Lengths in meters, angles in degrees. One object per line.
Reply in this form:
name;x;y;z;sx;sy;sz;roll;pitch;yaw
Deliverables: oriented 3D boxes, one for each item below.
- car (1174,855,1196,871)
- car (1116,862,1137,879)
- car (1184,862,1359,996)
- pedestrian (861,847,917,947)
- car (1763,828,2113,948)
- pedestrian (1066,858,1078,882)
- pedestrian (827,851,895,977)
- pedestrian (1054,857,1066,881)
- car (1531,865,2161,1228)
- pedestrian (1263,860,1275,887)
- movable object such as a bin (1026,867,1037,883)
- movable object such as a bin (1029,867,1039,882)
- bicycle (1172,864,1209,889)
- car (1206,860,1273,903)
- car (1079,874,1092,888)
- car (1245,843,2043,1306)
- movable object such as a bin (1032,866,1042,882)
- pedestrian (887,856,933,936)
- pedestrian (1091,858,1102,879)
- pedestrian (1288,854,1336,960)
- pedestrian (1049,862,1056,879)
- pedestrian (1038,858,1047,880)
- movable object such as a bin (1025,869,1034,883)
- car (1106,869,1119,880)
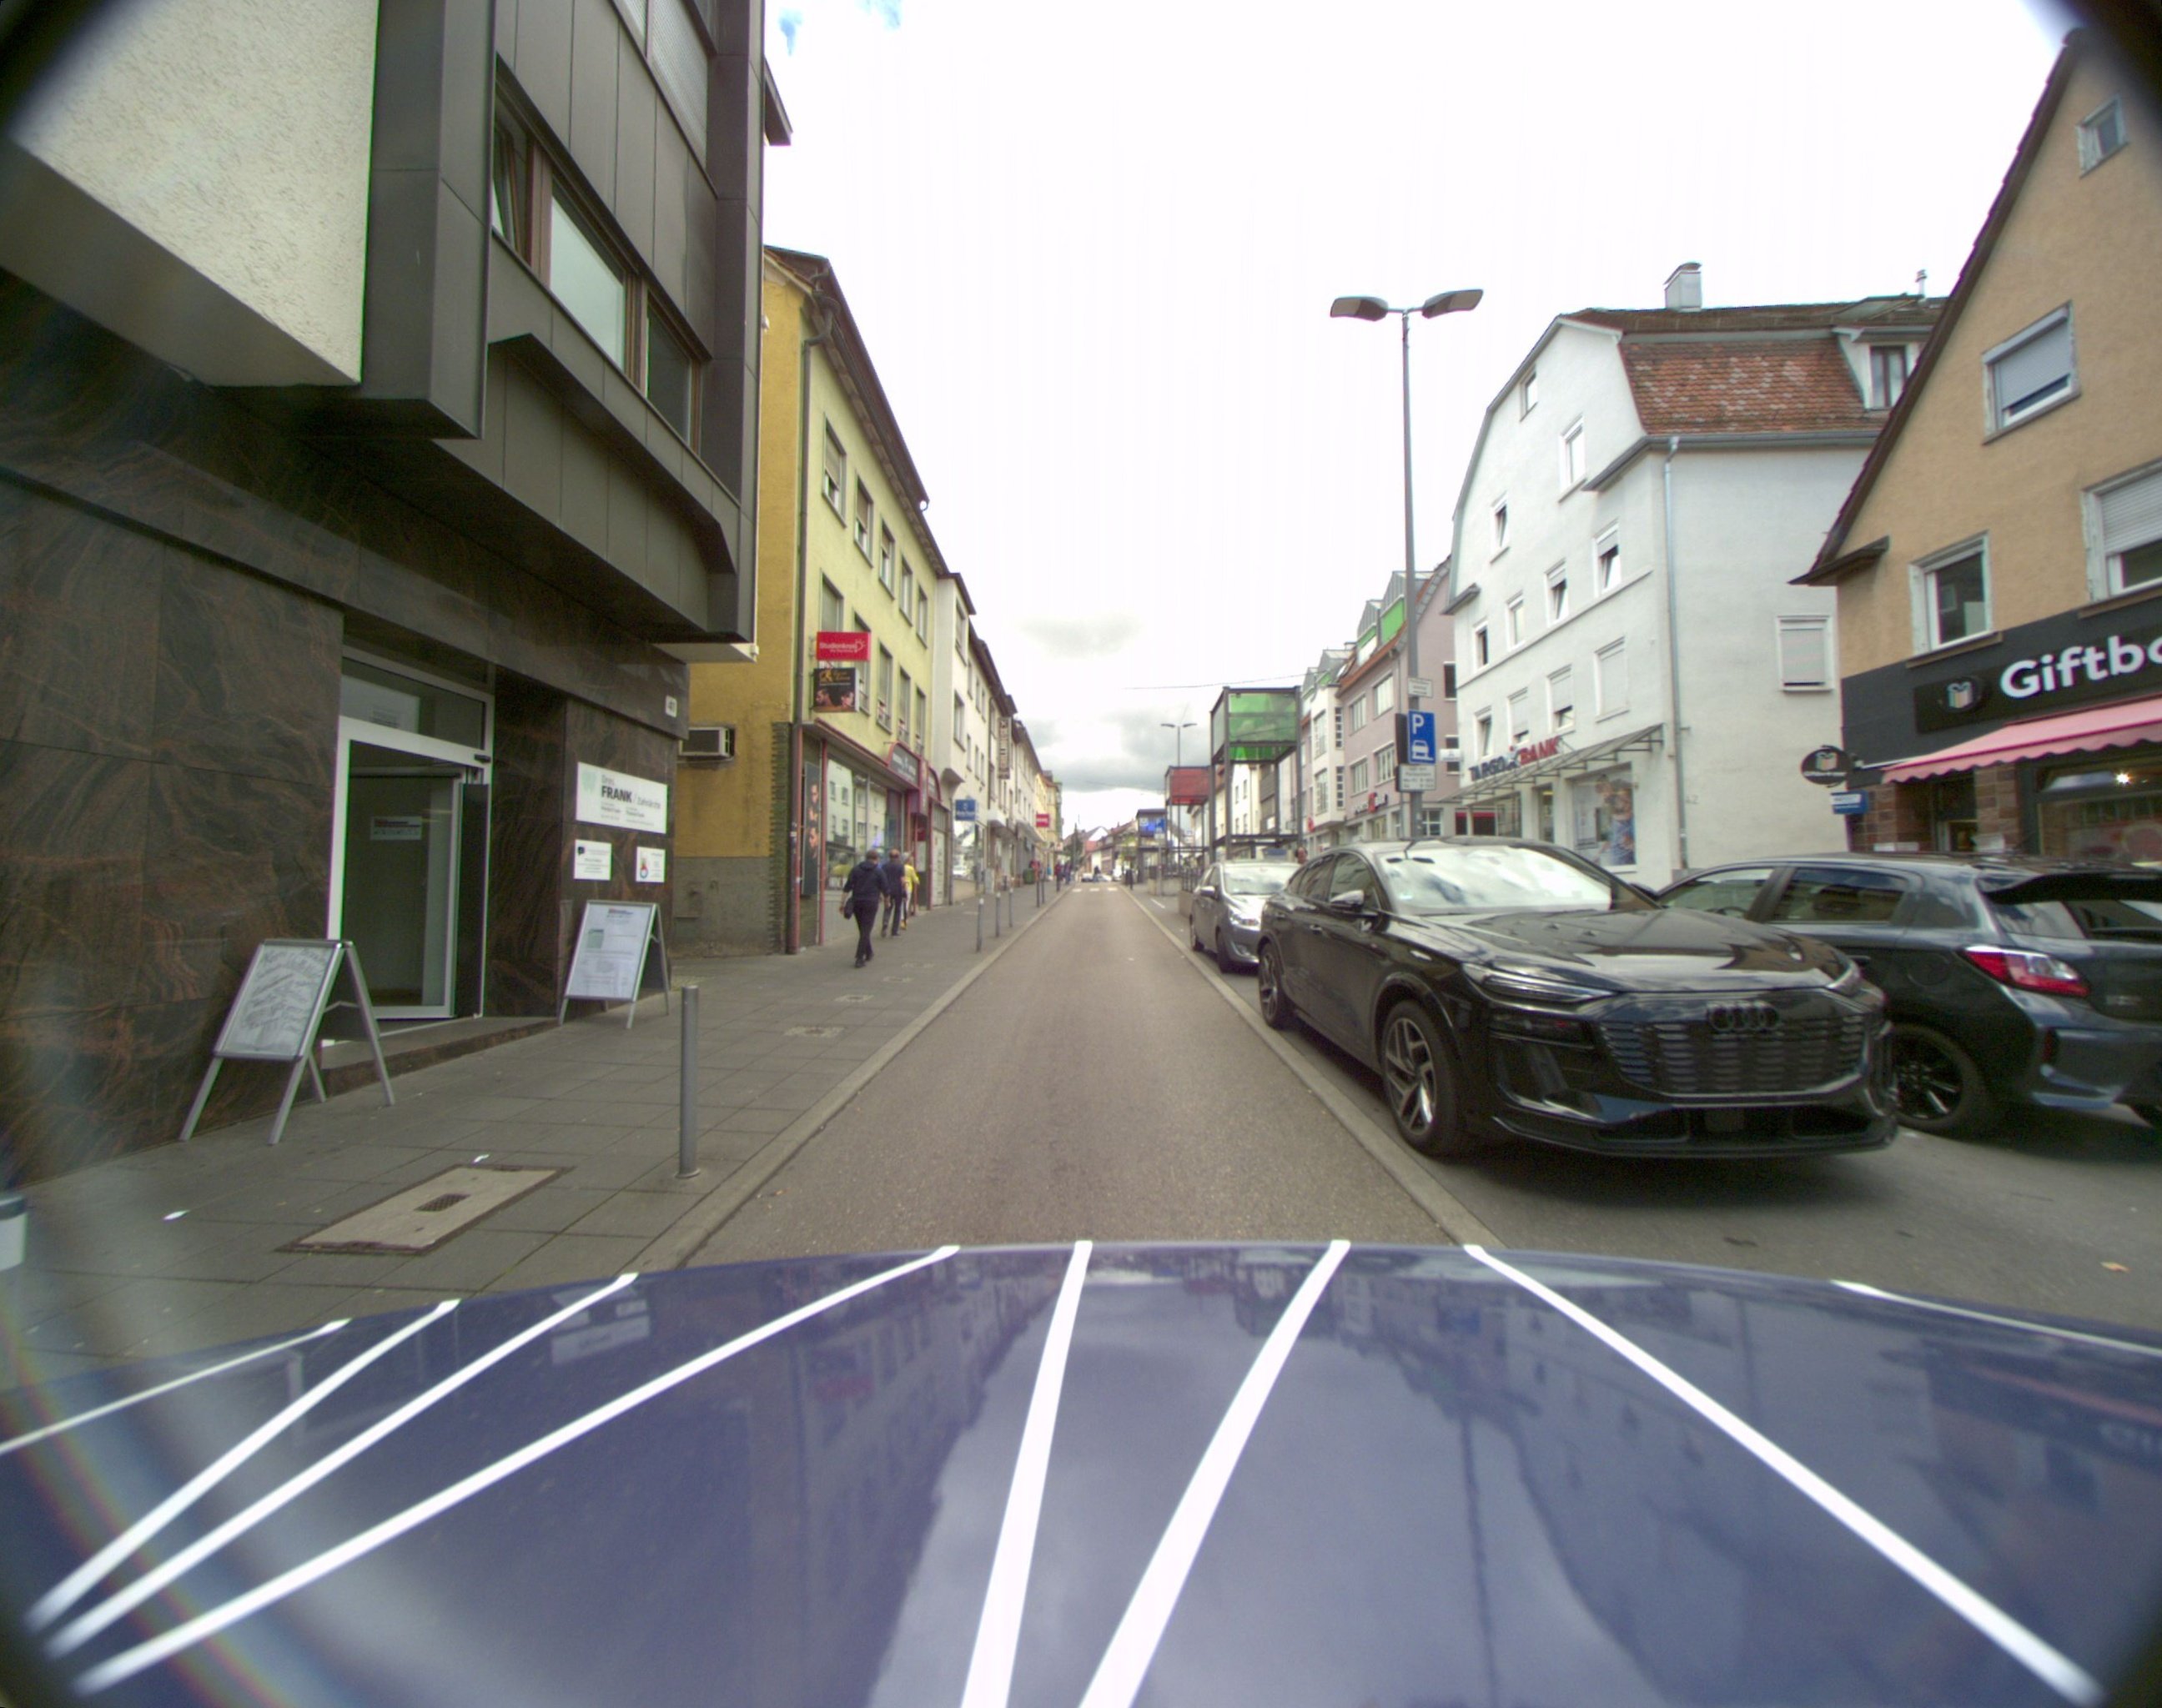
car;10.507;0.915;77.229;1.683;1.562;4.122;-2;0;1
car;4.234;1.514;70.904;1.754;1.452;3.602;-2;0;2
car;2.541;0.924;10.999;1.624;1.523;3.670;-2;0;1
pedestrian;-3.522;0.778;13.992;0.713;1.743;0.785;4;0;1
car;15.508;0.604;13.960;4.080;1.862;1.884;-3;0;3
pedestrian;-0.622;1.116;53.285;0.740;1.660;0.786;2;0;-8
pedestrian;-3.173;0.840;11.023;0.713;1.743;0.787;1;0;1
pedestrian;-1.470;1.040;53.306;0.740;1.660;0.627;2;0;-8
car;5.109;0.873;5.154;1.743;1.467;3.884;3;0;0
pedestrian;12.135;1.269;49.142;0.592;1.706;0.513;-2;1;1
movable object such as a bin;-3.372;1.424;51.534;0.670;1.024;0.560;0;0;1
movable object such as a bin;-3.209;1.403;52.255;0.652;1.074;0.673;0;0;1
bicycle;5.426;1.110;37.607;1.782;1.216;0.460;0;1;0
car;5.843;0.961;28.438;1.573;1.466;3.855;0;0;-2
car;0.597;3.635;102.634;1.741;1.608;3.843;-2;0;1
car;2.537;0.812;4.944;1.961;1.630;4.314;-2;0;0
movable object such as a bin;-3.094;1.399;53.006;0.652;1.074;0.659;0;0;1
pedestrian;-3.603;0.862;16.057;0.713;1.621;0.835;2;0;1
pedestrian;1.316;1.176;63.903;0.759;1.715;0.756;3;0;-4
pedestrian;3.776;0.843;12.454;0.535;1.662;0.901;-1;0;4
pedestrian;-2.738;1.615;73.601;0.627;1.620;0.607;-2;1;-4
pedestrian;-3.048;1.163;60.119;0.627;1.715;0.607;2;0;-4
movable object such as a bin;-3.473;1.480;50.923;0.568;0.951;0.498;0;0;1
car;4.977;3.246;120.487;1.741;1.608;3.999;-2;0;-1
